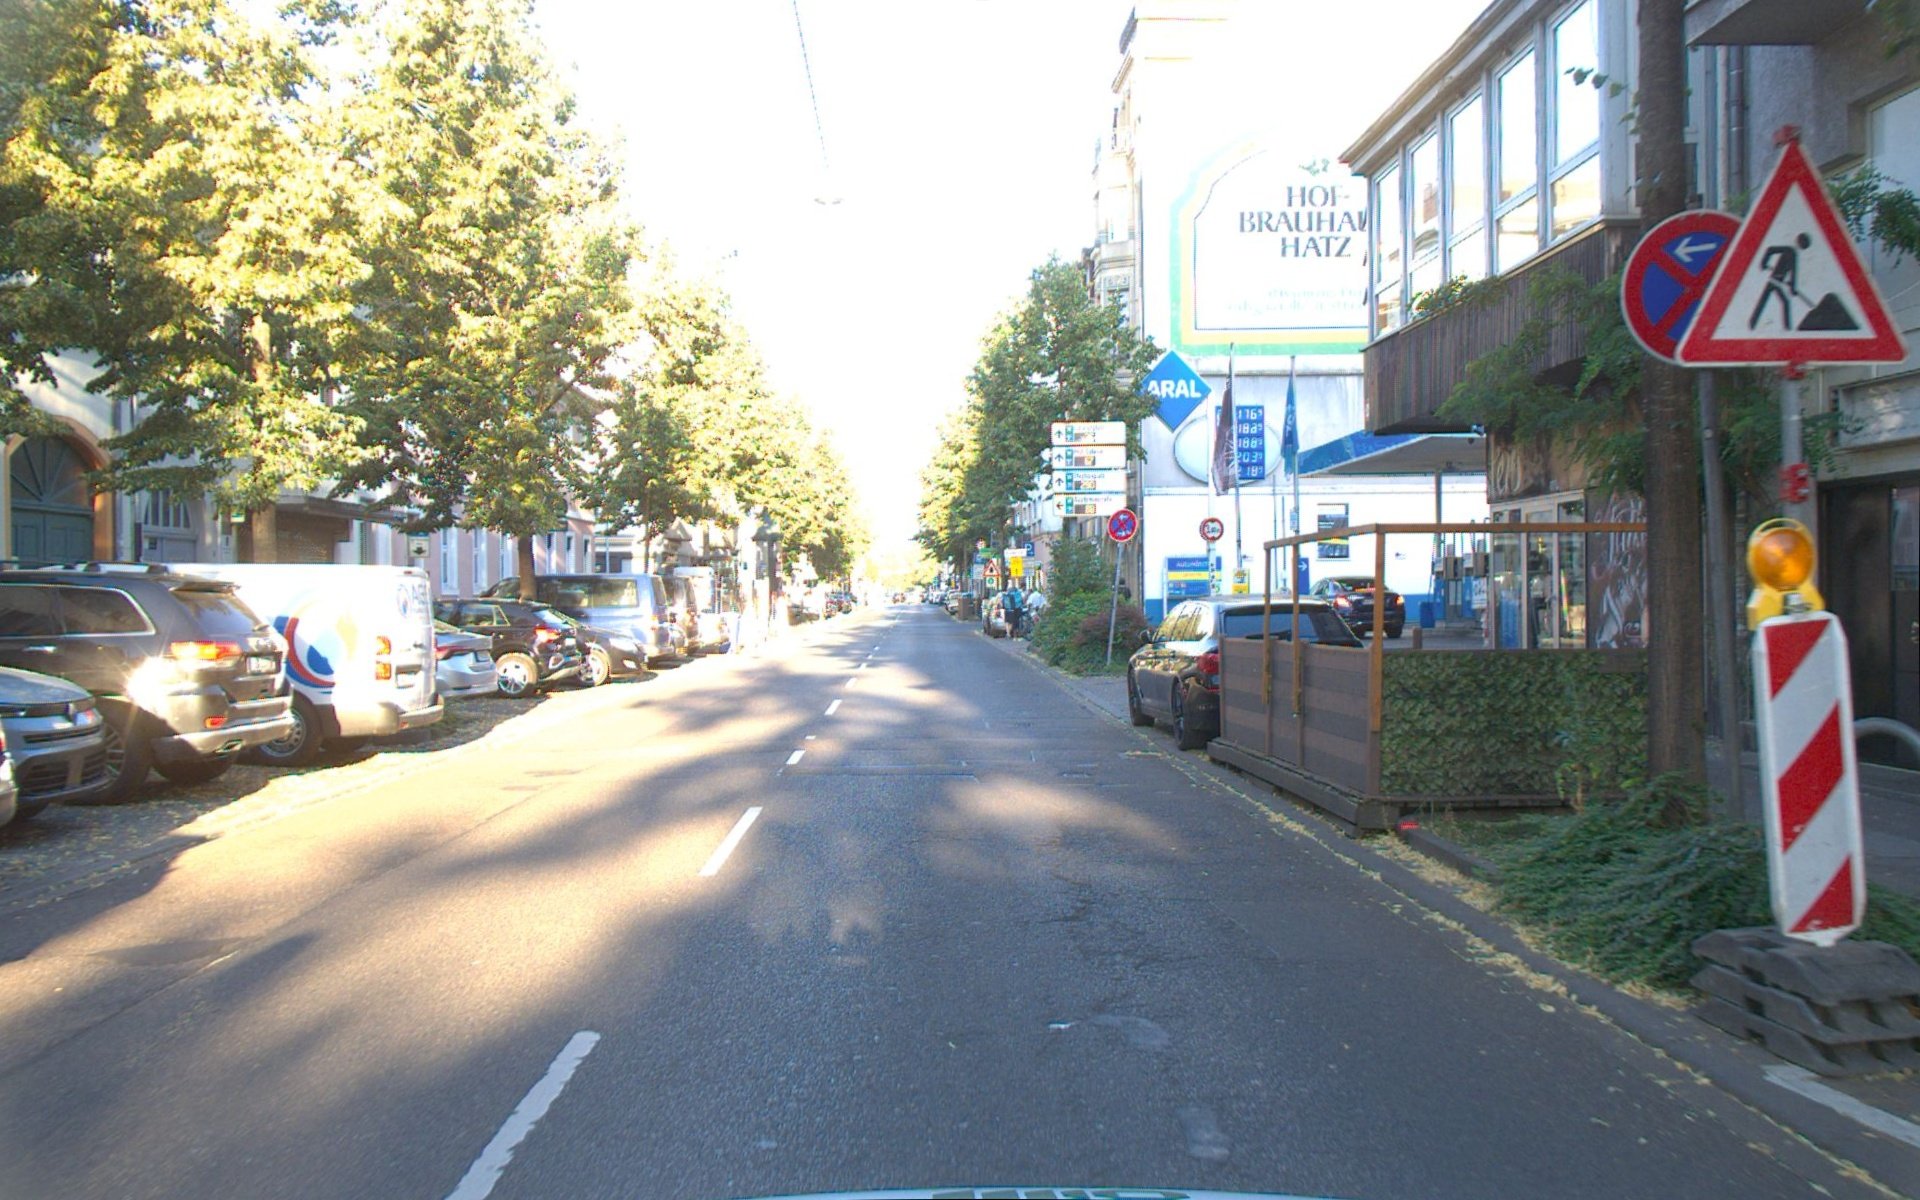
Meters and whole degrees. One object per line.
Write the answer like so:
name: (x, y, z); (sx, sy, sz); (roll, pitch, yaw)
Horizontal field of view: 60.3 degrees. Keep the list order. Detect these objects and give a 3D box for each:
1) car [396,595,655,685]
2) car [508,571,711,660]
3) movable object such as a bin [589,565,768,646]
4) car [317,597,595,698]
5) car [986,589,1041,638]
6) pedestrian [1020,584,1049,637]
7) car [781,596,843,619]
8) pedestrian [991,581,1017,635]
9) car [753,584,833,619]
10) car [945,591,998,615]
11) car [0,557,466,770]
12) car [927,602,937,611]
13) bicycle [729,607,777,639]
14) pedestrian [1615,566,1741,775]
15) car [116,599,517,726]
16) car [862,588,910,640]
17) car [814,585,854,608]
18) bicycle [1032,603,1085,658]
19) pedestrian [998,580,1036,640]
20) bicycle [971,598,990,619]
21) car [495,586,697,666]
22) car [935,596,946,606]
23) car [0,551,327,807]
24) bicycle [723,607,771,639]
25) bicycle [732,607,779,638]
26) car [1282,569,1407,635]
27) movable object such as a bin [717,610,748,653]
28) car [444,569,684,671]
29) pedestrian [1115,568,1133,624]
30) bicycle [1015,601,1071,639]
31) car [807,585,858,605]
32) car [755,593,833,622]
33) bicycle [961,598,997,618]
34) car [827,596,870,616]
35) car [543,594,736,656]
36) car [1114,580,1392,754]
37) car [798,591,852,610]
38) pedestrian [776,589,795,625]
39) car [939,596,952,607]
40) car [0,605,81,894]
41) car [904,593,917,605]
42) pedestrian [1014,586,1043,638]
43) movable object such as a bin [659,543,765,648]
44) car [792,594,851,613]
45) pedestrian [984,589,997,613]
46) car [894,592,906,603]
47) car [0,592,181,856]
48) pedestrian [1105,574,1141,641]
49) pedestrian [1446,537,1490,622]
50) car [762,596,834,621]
car: (-7.682, 0.698, 29.596); (4.243, 1.527, 1.839); (1, 0, -7)
car: (-8.187, 0.353, 38.932); (4.395, 2.010, 1.964); (1, 0, -4)
movable object such as a bin: (-9.212, 0.161, 54.542); (2.272, 2.539, 5.721); (0, 0, 41)
car: (-7.995, 0.725, 26.496); (3.842, 1.527, 1.905); (0, 0, 1)
car: (1.872, 0.445, 58.951); (1.653, 1.602, 4.012); (-3, 0, -1)
pedestrian: (2.505, 0.340, 55.565); (0.657, 1.730, 0.649); (-3, 0, 44)
car: (-10.807, 0.550, 120.726); (4.352, 1.595, 1.918); (0, 0, -1)
pedestrian: (1.485, 0.270, 55.917); (0.665, 1.785, 0.823); (-1, 0, -12)
car: (-9.697, 0.110, 96.488); (4.479, 1.996, 1.990); (0, 0, -2)
car: (0.795, 0.206, 115.393); (1.645, 1.616, 3.802); (0, 0, 41)
car: (-7.566, 0.586, 16.335); (4.772, 1.941, 1.973); (-1, 0, -2)
car: (-4.014, 0.938, 236.221); (1.482, 1.321, 3.303); (0, 0, 0)
bicycle: (-7.594, 0.838, 60.729); (1.647, 1.097, 0.445); (2, -1, 6)
pedestrian: (5.549, 0.529, 12.814); (0.598, 1.552, 0.773); (-1, 0, -1)
car: (-8.046, 0.762, 20.961); (4.386, 1.511, 1.734); (0, 0, 0)
car: (-2.840, 0.520, 63.801); (1.674, 1.855, 4.012); (-3, 0, -1)
car: (-13.869, -0.404, 182.110); (4.352, 2.477, 1.918); (0, 0, -1)
bicycle: (2.246, 0.681, 37.490); (0.473, 1.163, 1.678); (-3, 0, 28)
pedestrian: (1.817, 0.308, 53.089); (0.996, 1.857, 0.778); (-3, 0, -12)
bicycle: (1.148, 0.466, 92.146); (0.585, 1.198, 1.847); (0, 0, 18)
car: (-7.954, 0.553, 36.409); (4.046, 1.665, 1.860); (1, 0, -1)
car: (-2.499, 0.105, 212.997); (1.482, 1.285, 3.303); (0, 0, 0)
car: (-7.647, 0.597, 13.321); (4.338, 1.902, 1.893); (-1, 0, -1)
bicycle: (-7.733, 0.824, 60.133); (1.649, 1.097, 0.444); (2, -1, -2)
bicycle: (-7.582, 0.833, 61.316); (1.647, 1.097, 0.445); (2, -1, 6)
car: (9.176, 0.086, 39.863); (1.699, 1.456, 4.906); (-2, -1, -2)
movable object such as a bin: (-6.082, 0.842, 44.204); (0.676, 1.124, 0.883); (-1, 0, 0)
car: (-7.997, 0.389, 33.703); (4.392, 2.010, 2.068); (0, 0, -1)
pedestrian: (5.660, -0.141, 57.022); (0.452, 1.908, 0.499); (-1, 0, -17)
bicycle: (2.664, 0.641, 53.046); (0.850, 1.118, 1.919); (-2, 1, 37)
car: (-11.118, -0.436, 144.742); (4.352, 1.790, 1.918); (0, 0, -1)
car: (-9.936, 0.440, 99.293); (4.478, 1.727, 2.059); (0, 0, -1)
bicycle: (1.045, 0.450, 90.681); (1.918, 1.092, 0.704); (0, 0, 30)
car: (-11.634, 0.616, 172.181); (4.352, 1.994, 1.918); (0, 0, -1)
car: (-8.117, 0.621, 42.172); (4.499, 1.495, 1.893); (0, 0, 1)
car: (2.934, 0.606, 17.686); (1.792, 1.514, 4.846); (-3, 0, -3)
car: (-11.262, 0.019, 138.231); (4.352, 1.549, 1.918); (0, 0, -1)
pedestrian: (-8.314, 0.323, 78.833); (0.695, 1.716, 0.834); (0, 0, 7)
car: (-1.720, 0.183, 194.985); (1.482, 1.298, 3.303); (0, 0, 0)
car: (-7.026, 0.811, 8.479); (3.956, 1.509, 1.962); (-1, 0, -2)
car: (-6.808, -0.160, 228.277); (1.717, 1.567, 3.303); (-1, 0, -1)
pedestrian: (2.332, 0.400, 56.168); (0.666, 1.735, 0.821); (-3, 0, -16)
movable object such as a bin: (-7.493, -0.126, 50.509); (2.572, 3.021, 5.301); (0, 0, -2)
car: (-10.630, 0.283, 127.373); (4.352, 1.474, 1.918); (0, 0, -1)
pedestrian: (1.822, 0.078, 98.527); (0.711, 1.402, 0.781); (0, 0, -2)
car: (-8.855, -0.370, 244.473); (1.717, 1.567, 3.303); (-1, 0, -1)
car: (-7.599, 0.757, 10.927); (3.954, 1.582, 1.964); (-1, 0, 1)
pedestrian: (4.751, 0.214, 48.254); (0.806, 1.886, 1.096); (-3, 0, -3)
pedestrian: (17.705, -0.702, 57.675); (1.184, 2.958, 1.167); (0, -1, -1)
car: (-10.172, 0.542, 104.283); (4.352, 1.533, 1.844); (0, 0, -1)
